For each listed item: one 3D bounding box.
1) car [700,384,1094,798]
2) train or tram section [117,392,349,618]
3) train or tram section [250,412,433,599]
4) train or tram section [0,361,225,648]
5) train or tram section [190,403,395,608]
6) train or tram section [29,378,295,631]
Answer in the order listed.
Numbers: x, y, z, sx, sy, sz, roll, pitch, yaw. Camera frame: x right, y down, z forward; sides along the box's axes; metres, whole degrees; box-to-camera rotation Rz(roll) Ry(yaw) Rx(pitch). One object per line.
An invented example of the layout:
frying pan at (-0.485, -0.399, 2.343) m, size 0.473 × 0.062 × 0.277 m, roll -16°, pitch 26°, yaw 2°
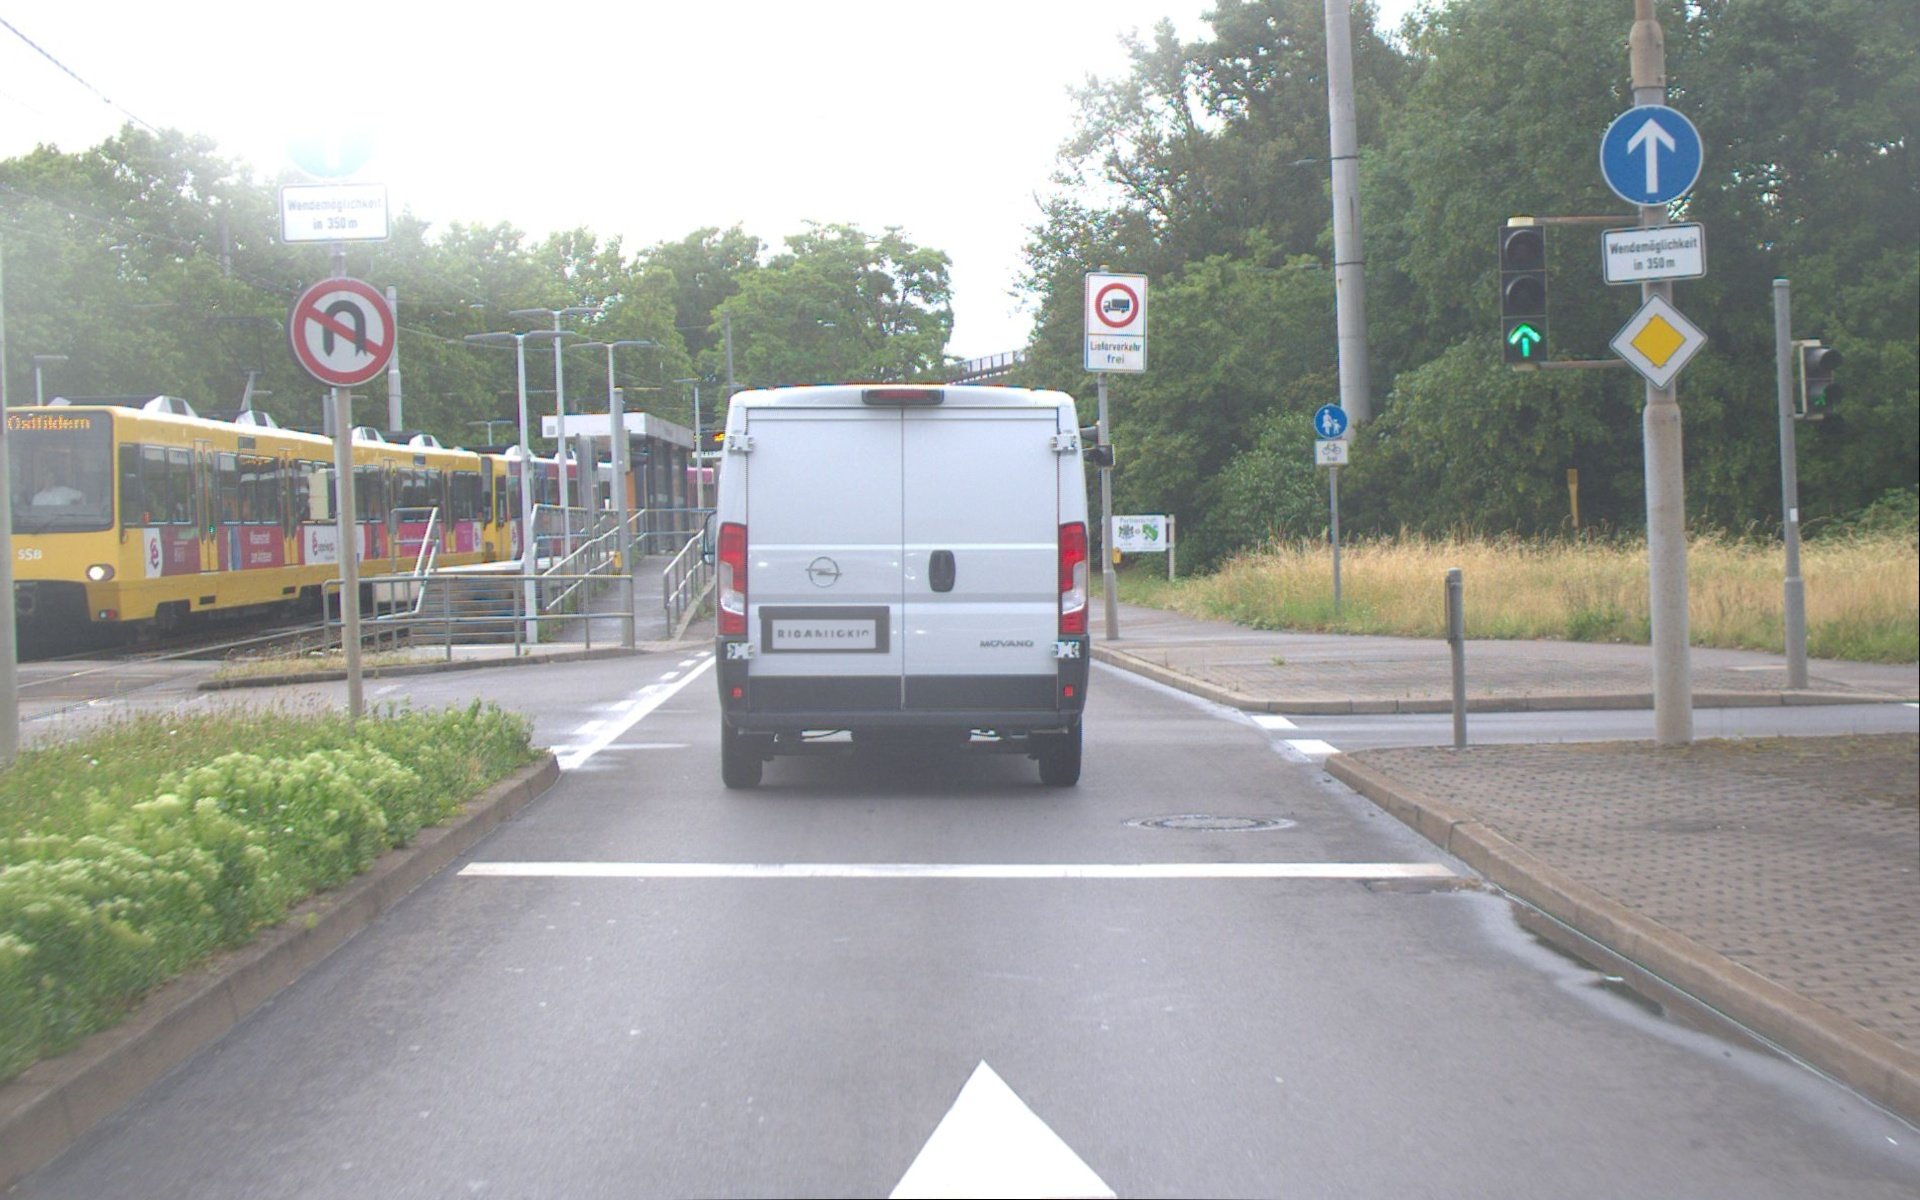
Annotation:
car at (-0.469, -0.104, 20.758) m, size 2.090 × 2.189 × 5.062 m, roll 0°, pitch 1°, yaw -3°
train or tram section at (-13.291, -1.744, 63.411) m, size 2.928 × 3.919 × 7.006 m, roll 1°, pitch 1°, yaw -1°
train or tram section at (-13.606, -2.081, 76.117) m, size 2.928 × 3.919 × 7.006 m, roll 1°, pitch 1°, yaw -1°
train or tram section at (-12.997, -1.409, 50.765) m, size 2.928 × 3.919 × 7.006 m, roll 1°, pitch 1°, yaw -1°
train or tram section at (-13.445, -1.912, 69.766) m, size 2.928 × 3.919 × 7.006 m, roll 1°, pitch 1°, yaw -1°
train or tram section at (-13.134, -1.578, 57.168) m, size 2.928 × 3.919 × 7.006 m, roll 1°, pitch 1°, yaw -1°
